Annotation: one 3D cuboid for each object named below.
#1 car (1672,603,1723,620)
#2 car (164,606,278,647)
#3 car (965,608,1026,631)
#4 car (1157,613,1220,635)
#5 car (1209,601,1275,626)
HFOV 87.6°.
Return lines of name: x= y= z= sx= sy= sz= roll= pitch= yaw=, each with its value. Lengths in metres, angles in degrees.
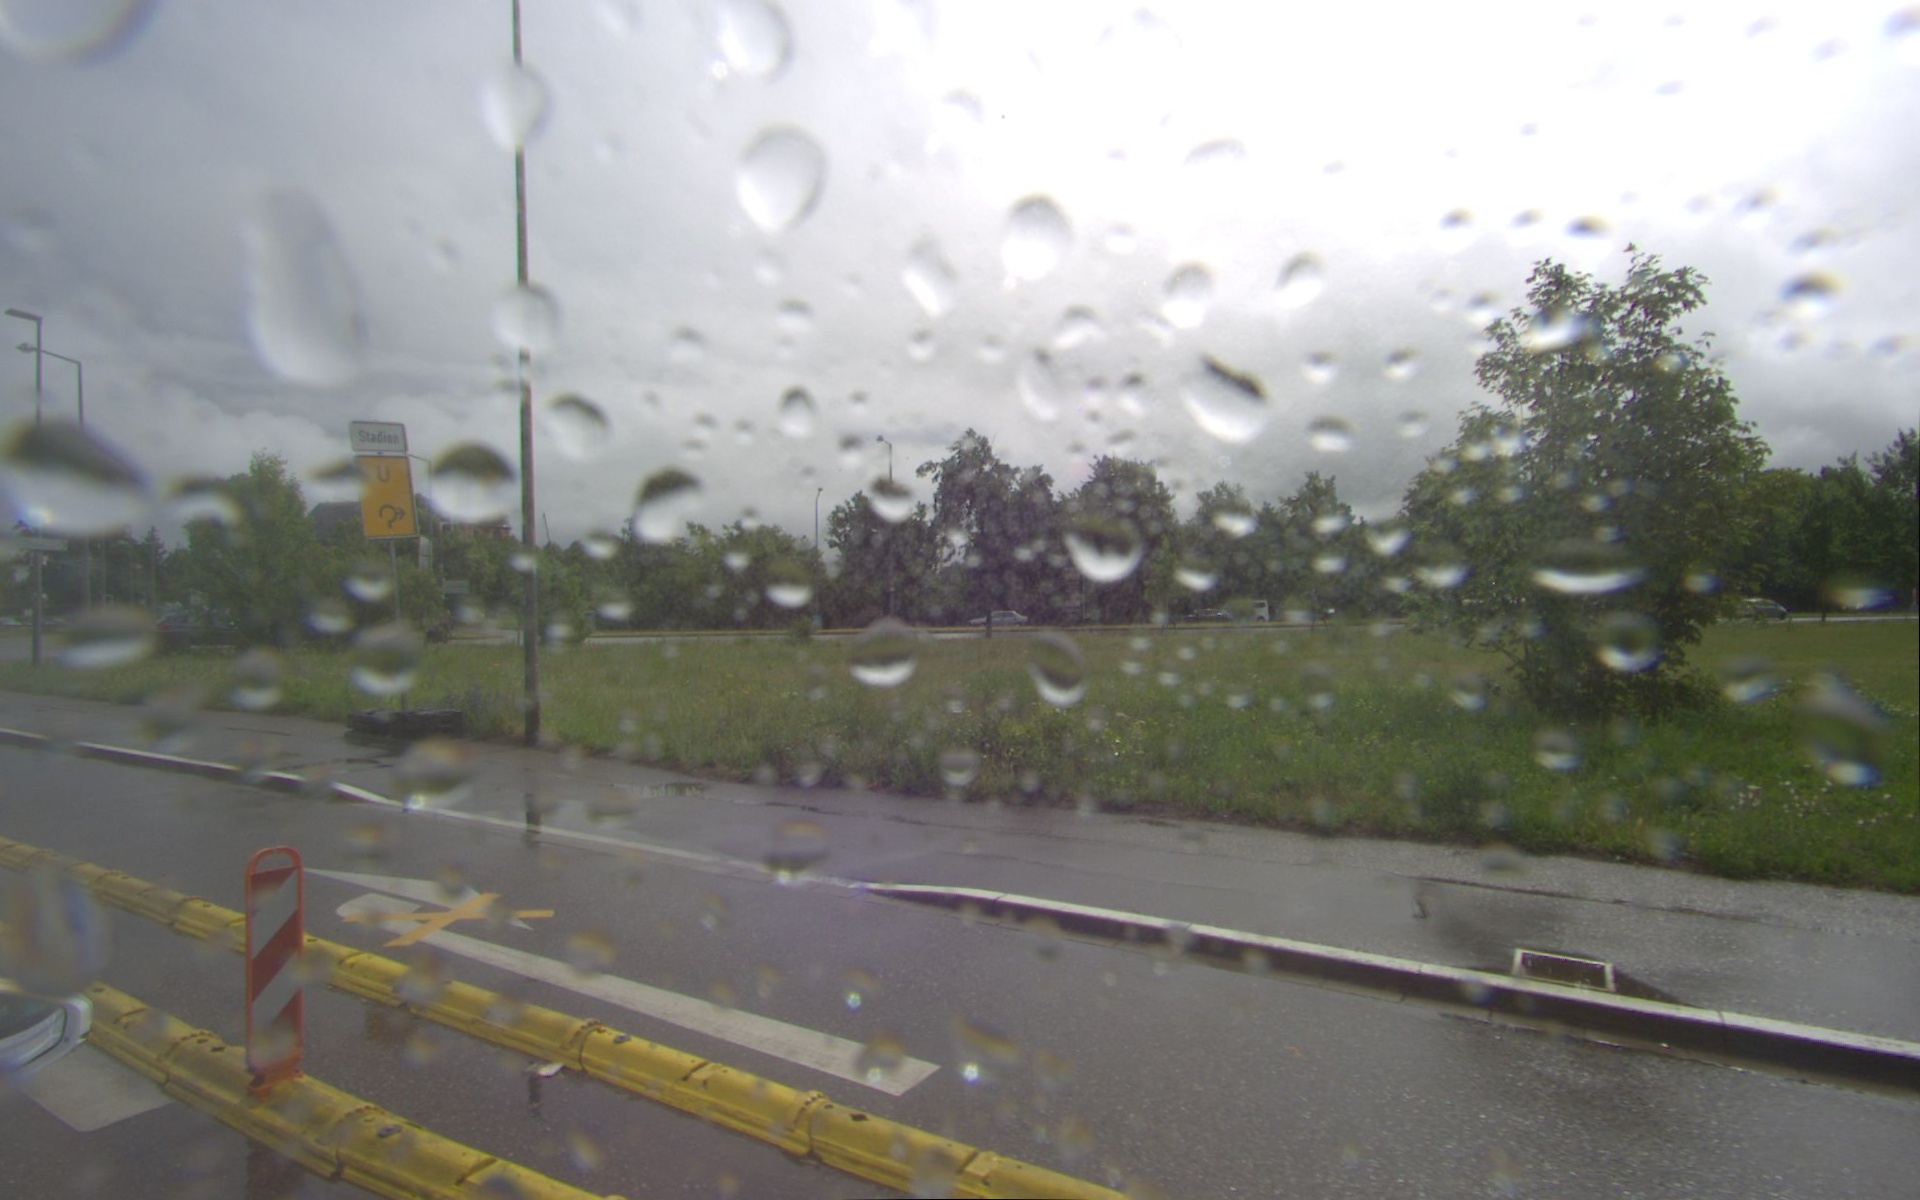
car: x=68.869 y=1.078 z=93.506 sx=4.158 sy=1.579 sz=1.541 roll=0 pitch=0 yaw=-15
car: x=-31.898 y=1.126 z=43.276 sx=3.910 sy=1.666 sz=1.657 roll=1 pitch=-1 yaw=-40
car: x=2.510 y=1.405 z=71.466 sx=4.039 sy=1.581 sz=1.912 roll=0 pitch=0 yaw=-13
car: x=17.185 y=1.798 z=75.210 sx=4.227 sy=1.581 sz=1.911 roll=0 pitch=0 yaw=-15
car: x=22.712 y=1.104 z=80.687 sx=4.872 sy=1.944 sz=1.997 roll=0 pitch=0 yaw=-16
